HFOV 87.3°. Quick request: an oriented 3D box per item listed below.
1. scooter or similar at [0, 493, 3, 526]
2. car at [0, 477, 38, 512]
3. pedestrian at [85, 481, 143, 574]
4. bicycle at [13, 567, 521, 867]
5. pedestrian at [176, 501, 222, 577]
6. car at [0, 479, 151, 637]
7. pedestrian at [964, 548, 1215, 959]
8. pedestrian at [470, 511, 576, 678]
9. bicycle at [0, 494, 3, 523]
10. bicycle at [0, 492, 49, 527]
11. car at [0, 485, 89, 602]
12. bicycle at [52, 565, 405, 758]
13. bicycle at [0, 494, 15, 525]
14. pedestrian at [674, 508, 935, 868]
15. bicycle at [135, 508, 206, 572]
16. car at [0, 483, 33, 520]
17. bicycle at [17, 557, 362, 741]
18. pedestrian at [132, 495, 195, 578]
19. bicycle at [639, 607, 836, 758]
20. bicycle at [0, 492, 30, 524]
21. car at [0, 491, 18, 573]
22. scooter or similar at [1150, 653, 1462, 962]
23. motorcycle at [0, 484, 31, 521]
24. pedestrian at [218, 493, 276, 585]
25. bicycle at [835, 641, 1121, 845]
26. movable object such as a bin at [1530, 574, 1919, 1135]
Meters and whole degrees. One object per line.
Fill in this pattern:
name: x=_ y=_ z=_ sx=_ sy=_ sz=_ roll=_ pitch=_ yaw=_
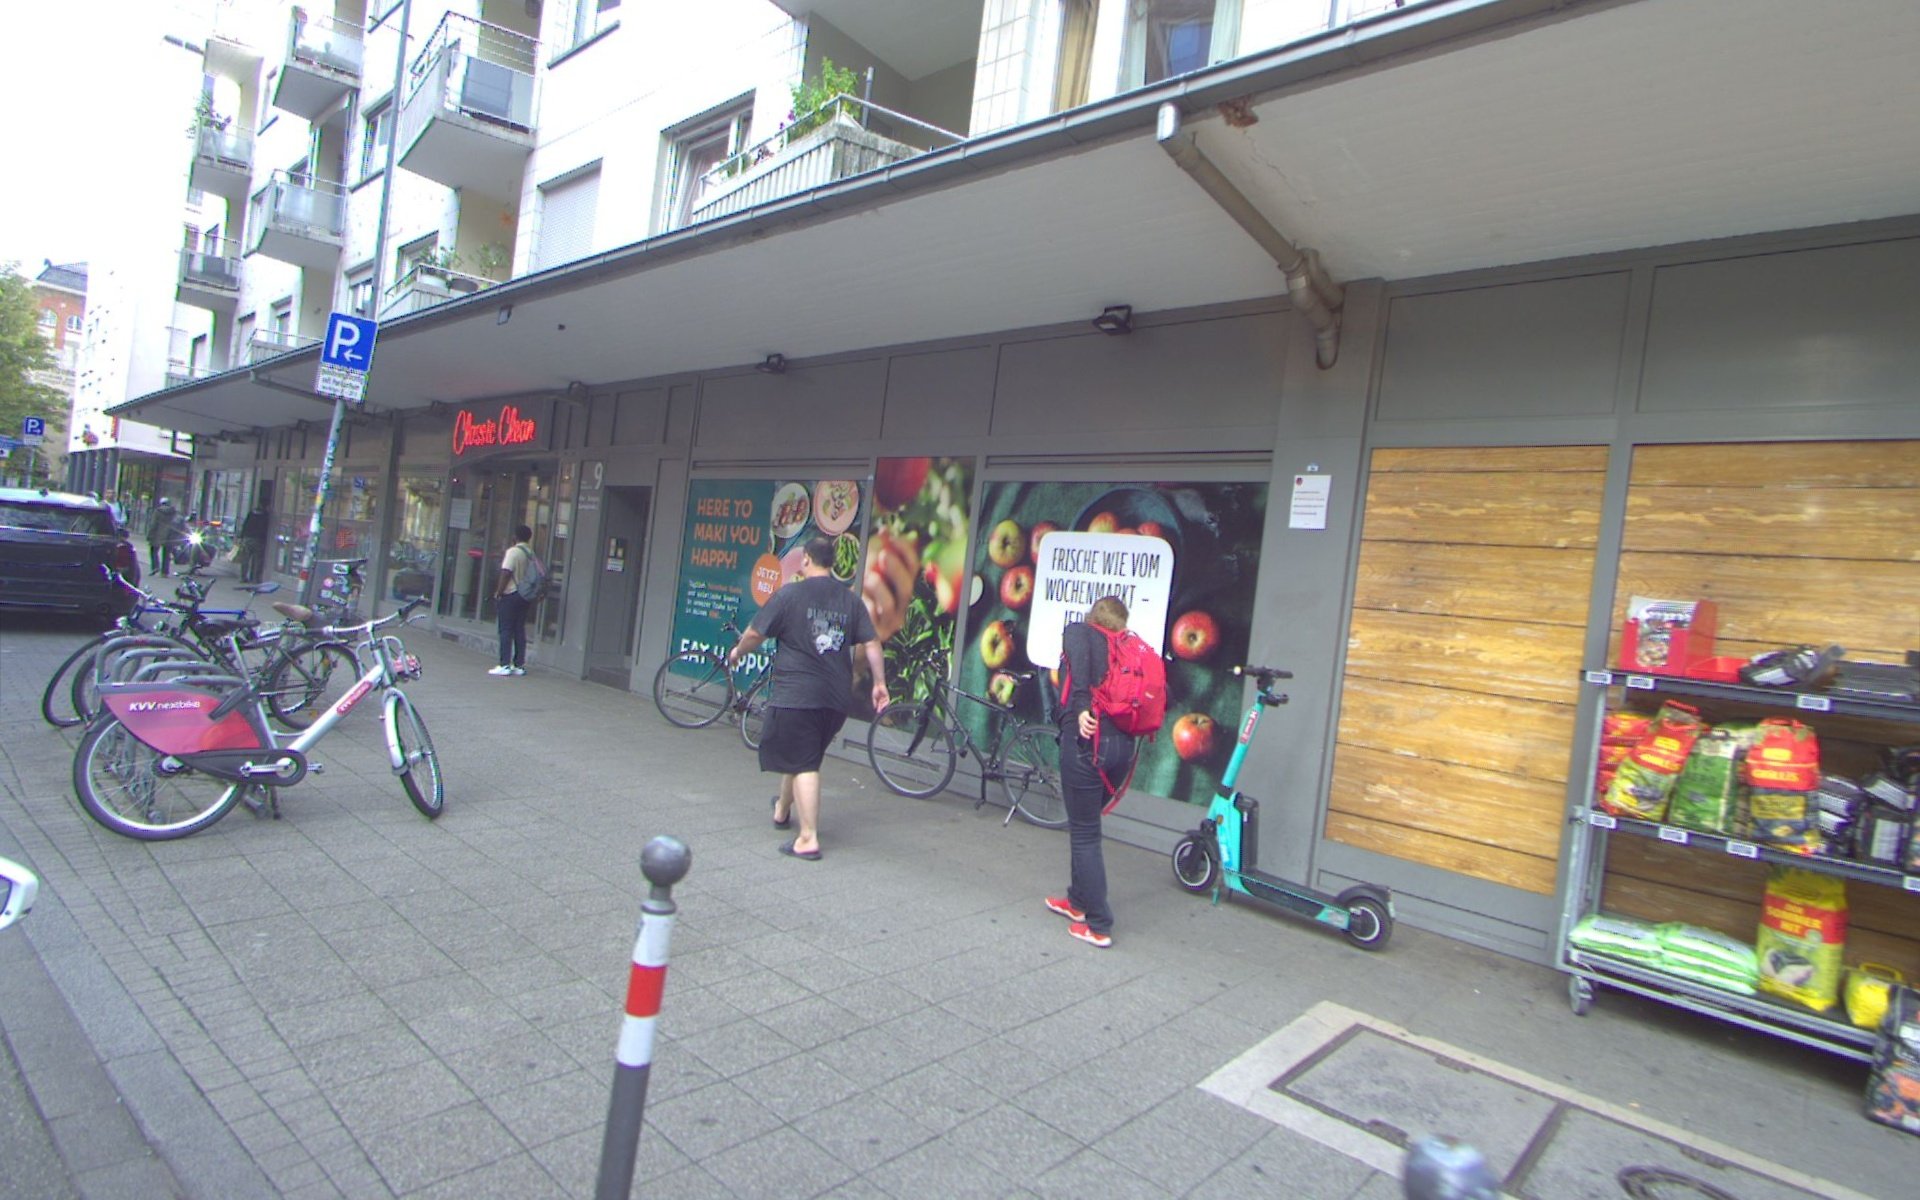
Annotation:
scooter or similar: x=-34.994 y=-3.304 z=35.849 sx=1.190 sy=1.163 sz=0.377 roll=5 pitch=4 yaw=-16
car: x=-59.105 y=-6.595 z=61.468 sx=3.972 sy=1.708 sz=1.713 roll=5 pitch=10 yaw=-43
pedestrian: x=-16.993 y=-1.458 z=20.208 sx=1.109 sy=1.749 sz=0.611 roll=8 pitch=4 yaw=37
bicycle: x=-3.352 y=0.503 z=5.008 sx=0.894 sy=1.140 sz=1.878 roll=8 pitch=3 yaw=40
pedestrian: x=-17.246 y=-1.384 z=22.793 sx=0.770 sy=1.609 sz=0.642 roll=7 pitch=3 yaw=45
car: x=-11.299 y=-0.610 z=12.196 sx=3.871 sy=1.627 sz=1.787 roll=7 pitch=3 yaw=44
pedestrian: x=0.592 y=0.639 z=4.603 sx=0.702 sy=1.654 sz=0.720 roll=8 pitch=3 yaw=41
pedestrian: x=-4.941 y=-0.062 z=11.366 sx=0.805 sy=1.770 sz=0.712 roll=8 pitch=3 yaw=41
bicycle: x=-38.313 y=-3.660 z=38.983 sx=1.759 sy=1.114 sz=0.406 roll=4 pitch=3 yaw=-45
bicycle: x=-35.687 y=-3.428 z=38.247 sx=0.406 sy=1.161 sz=1.491 roll=8 pitch=3 yaw=43
car: x=-15.130 y=-1.002 z=15.748 sx=3.848 sy=1.597 sz=1.685 roll=7 pitch=0 yaw=42
bicycle: x=-4.822 y=0.392 z=6.770 sx=0.560 sy=1.085 sz=1.788 roll=8 pitch=2 yaw=33
bicycle: x=-35.467 y=-3.361 z=36.412 sx=0.405 sy=1.071 sz=1.763 roll=8 pitch=2 yaw=38
pedestrian: x=-0.884 y=0.435 z=5.669 sx=1.034 sy=1.770 sz=0.847 roll=8 pitch=3 yaw=41
bicycle: x=-18.616 y=-1.436 z=23.701 sx=2.466 sy=1.308 sz=0.916 roll=7 pitch=2 yaw=43
car: x=-45.355 y=-4.687 z=46.183 sx=1.703 sy=1.566 sz=3.761 roll=6 pitch=1 yaw=32
bicycle: x=-5.328 y=0.334 z=7.085 sx=0.577 sy=1.085 sz=1.788 roll=8 pitch=2 yaw=33
pedestrian: x=-16.524 y=-1.317 z=20.876 sx=0.770 sy=1.608 sz=0.822 roll=7 pitch=1 yaw=44
bicycle: x=-1.977 y=0.670 z=8.768 sx=1.759 sy=1.028 sz=0.739 roll=7 pitch=3 yaw=43
bicycle: x=-39.218 y=-3.800 z=41.028 sx=1.775 sy=1.175 sz=0.497 roll=5 pitch=3 yaw=-22
car: x=-19.488 y=-1.464 z=19.456 sx=3.977 sy=1.457 sz=1.591 roll=7 pitch=1 yaw=44
scooter or similar: x=1.735 y=0.967 z=5.123 sx=1.238 sy=1.229 sz=0.630 roll=8 pitch=3 yaw=40
motorcycle: x=-43.272 y=-4.441 z=45.208 sx=2.142 sy=1.551 sz=0.677 roll=4 pitch=3 yaw=-43
pedestrian: x=-15.510 y=-1.319 z=21.894 sx=0.699 sy=1.883 sz=0.642 roll=7 pitch=1 yaw=-18
bicycle: x=0.116 y=0.901 z=6.749 sx=1.702 sy=1.056 sz=0.678 roll=6 pitch=0 yaw=23
movable object such as a bin: x=3.534 y=0.911 z=3.530 sx=2.390 sy=1.766 sz=0.778 roll=7 pitch=1 yaw=43
